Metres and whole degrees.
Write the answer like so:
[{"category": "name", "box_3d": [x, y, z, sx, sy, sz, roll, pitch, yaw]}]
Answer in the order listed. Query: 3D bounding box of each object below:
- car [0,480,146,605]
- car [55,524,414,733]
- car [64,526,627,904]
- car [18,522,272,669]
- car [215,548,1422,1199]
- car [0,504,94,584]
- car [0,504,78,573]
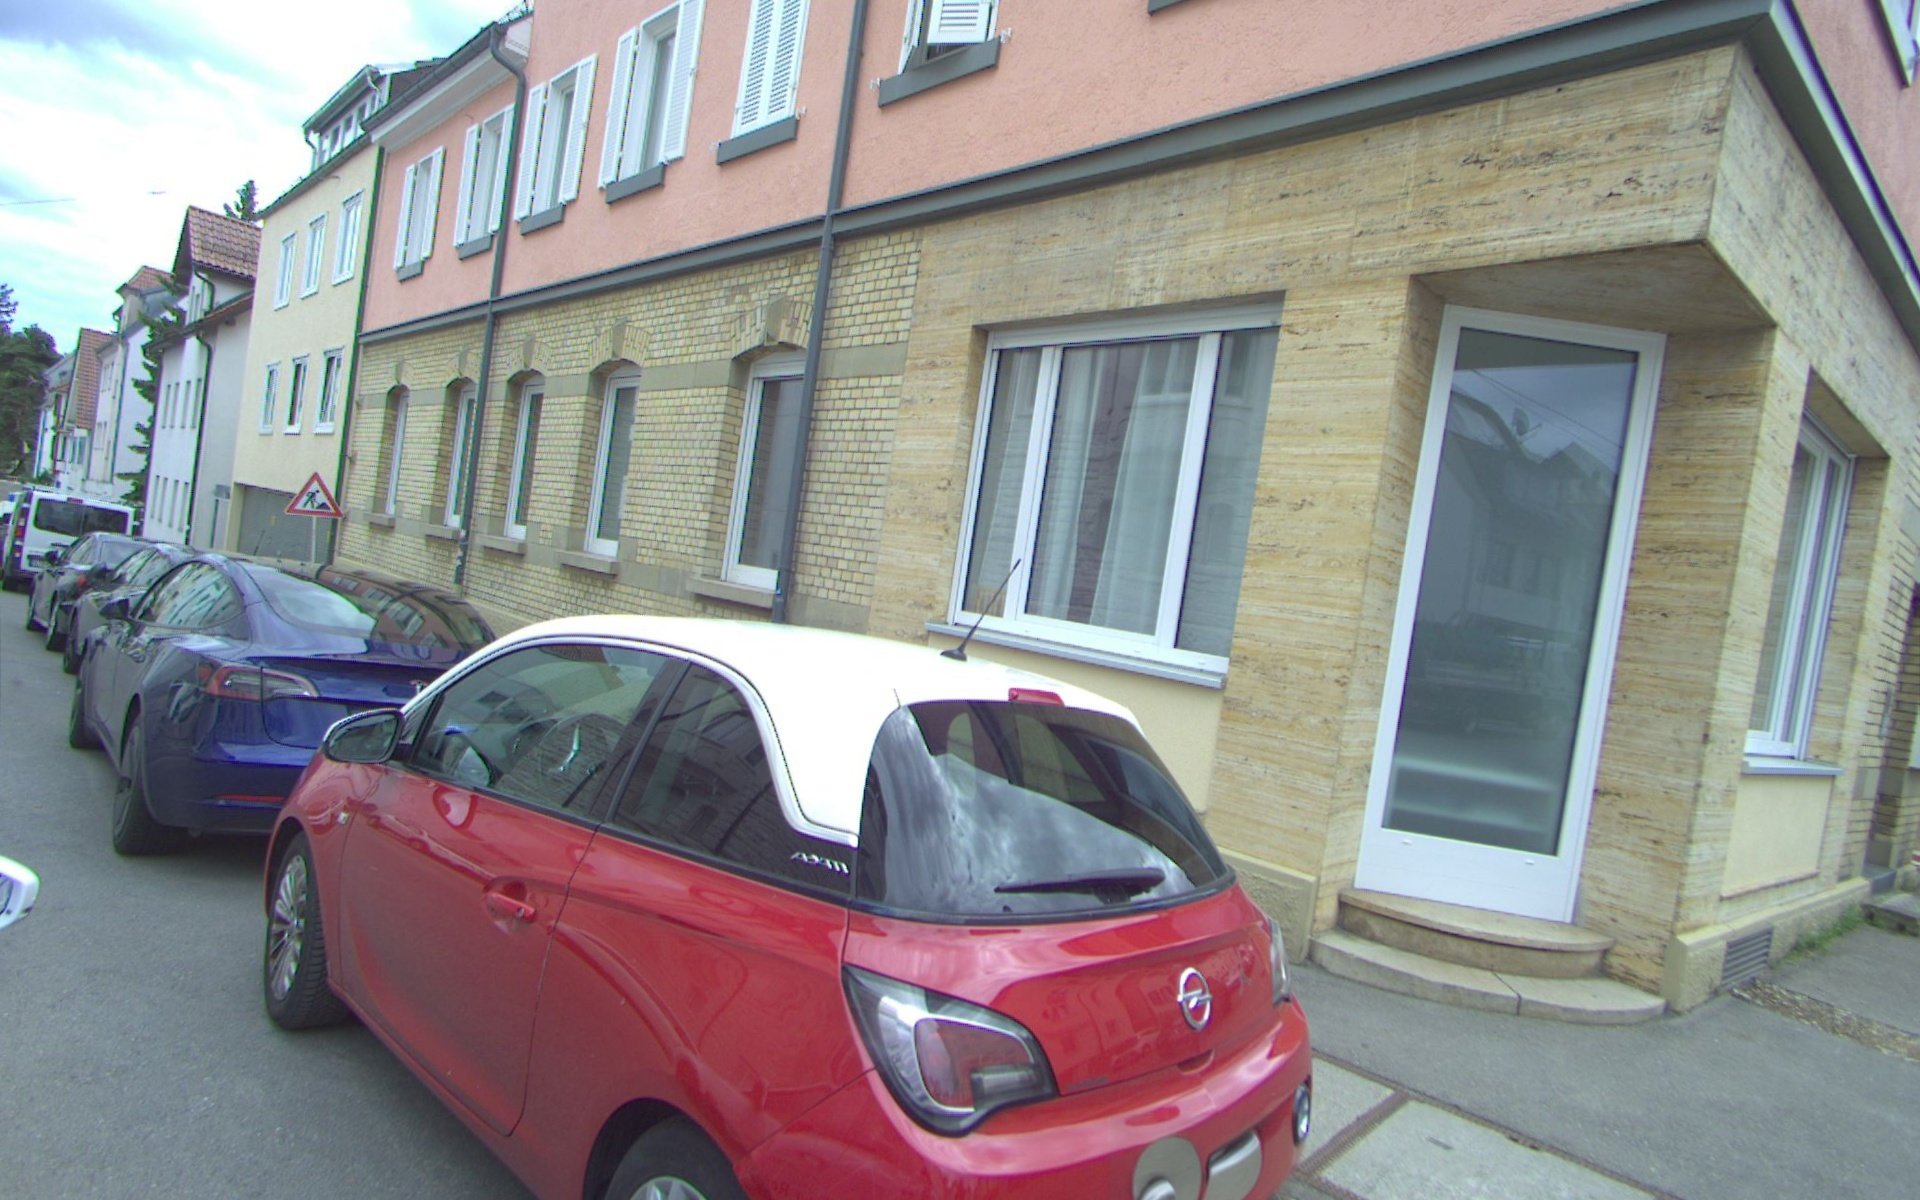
[{"category": "car", "box_3d": [-18.710, -1.244, 20.904, 5.657, 2.052, 1.903, 6, -3, 44]}, {"category": "car", "box_3d": [-6.993, 0.206, 9.549, 3.912, 1.419, 1.851, 6, -3, 42]}, {"category": "car", "box_3d": [-3.962, 0.463, 6.106, 4.237, 1.419, 1.849, 6, -3, 45]}, {"category": "car", "box_3d": [-10.588, -0.119, 12.942, 4.516, 1.419, 1.850, 4, -4, 44]}, {"category": "car", "box_3d": [-0.798, 0.768, 3.087, 3.577, 1.497, 1.665, 6, -1, 43]}, {"category": "car", "box_3d": [-22.014, -1.366, 24.181, 1.484, 1.614, 2.756, 10, -3, -44]}, {"category": "car", "box_3d": [-26.762, -1.823, 28.873, 4.441, 1.614, 1.711, 6, -3, 45]}]
